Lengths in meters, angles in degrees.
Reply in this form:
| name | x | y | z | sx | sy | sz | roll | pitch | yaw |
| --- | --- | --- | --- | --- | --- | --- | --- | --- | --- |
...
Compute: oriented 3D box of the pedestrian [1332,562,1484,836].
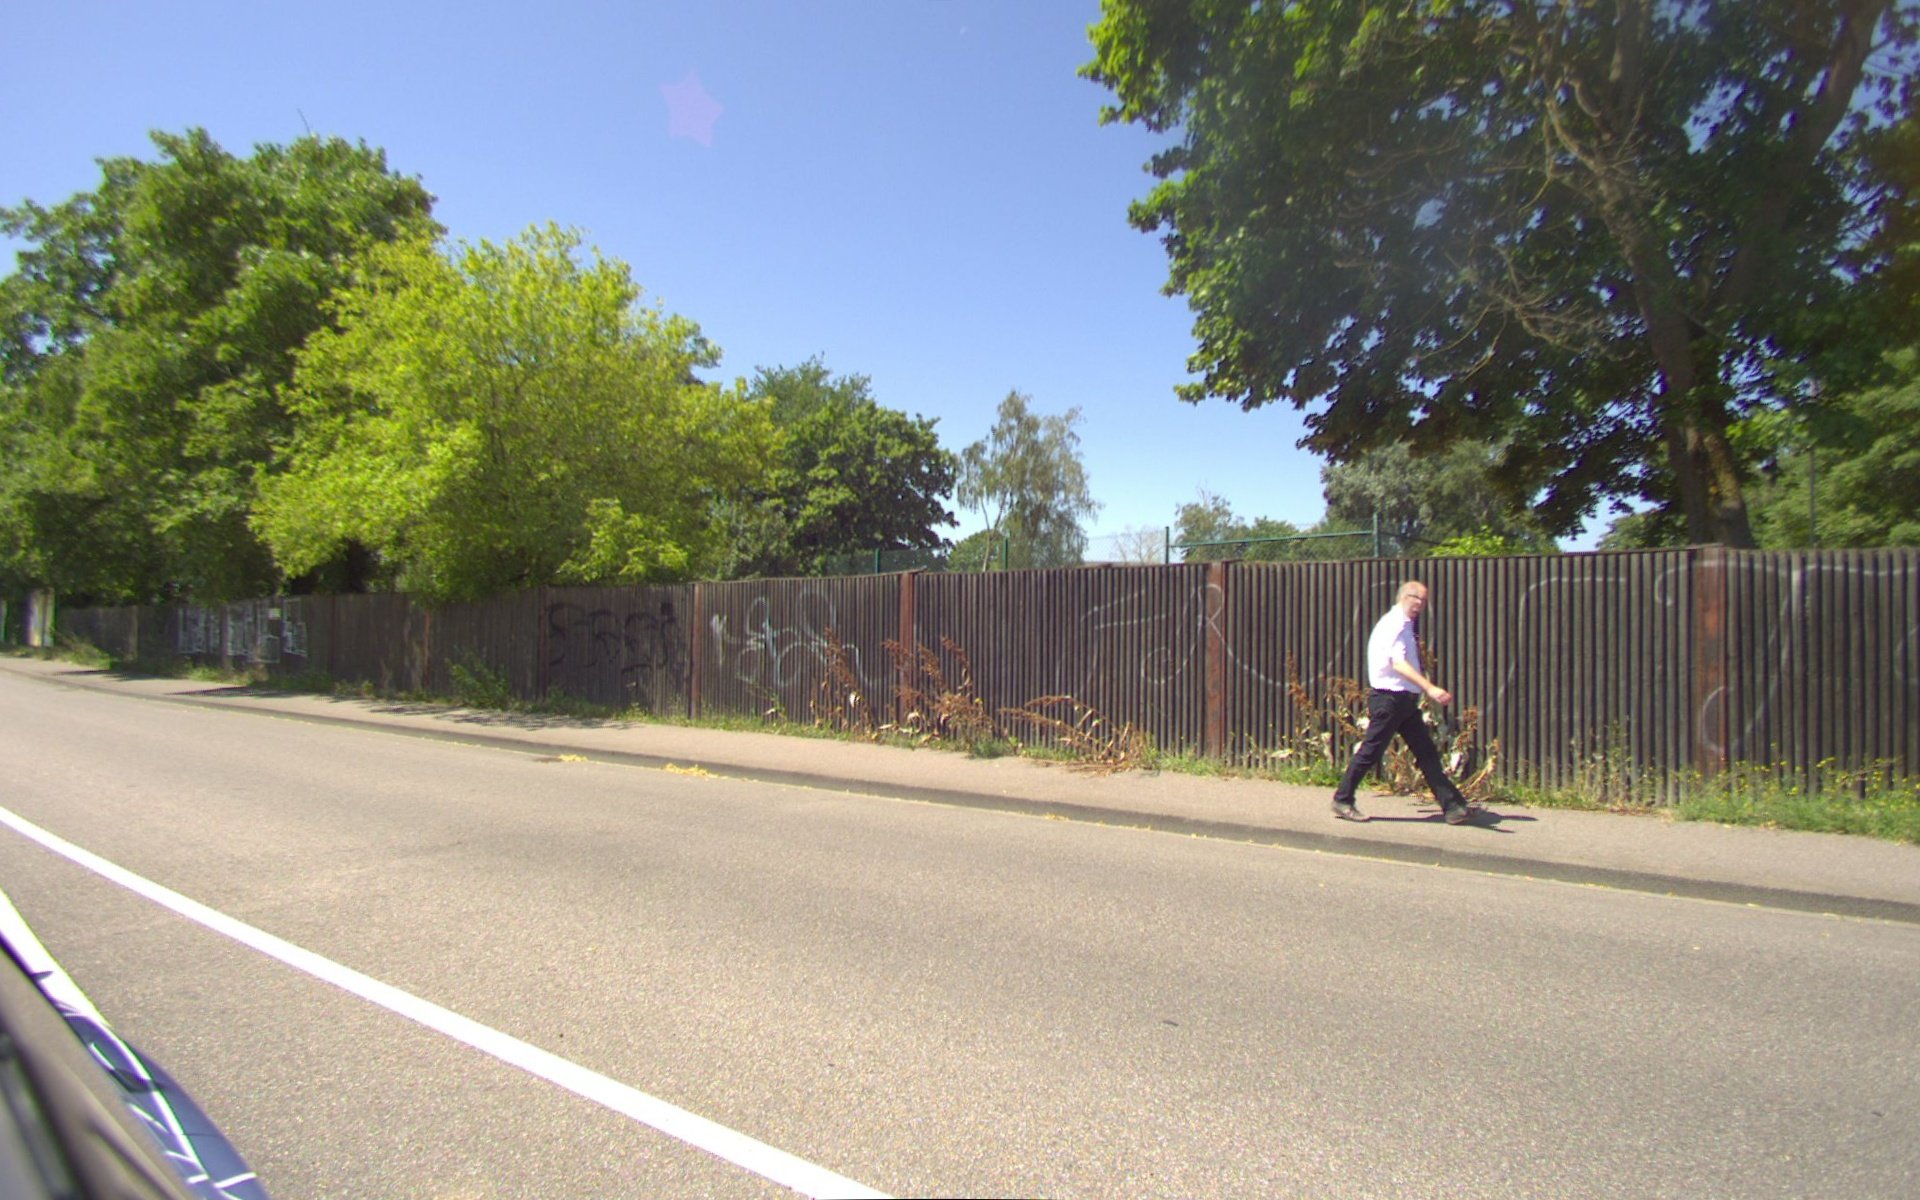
| name | x | y | z | sx | sy | sz | roll | pitch | yaw |
| --- | --- | --- | --- | --- | --- | --- | --- | --- | --- |
| pedestrian | 3.230 | 0.673 | 7.308 | 0.850 | 1.838 | 0.586 | -1 | -1 | 41 |
